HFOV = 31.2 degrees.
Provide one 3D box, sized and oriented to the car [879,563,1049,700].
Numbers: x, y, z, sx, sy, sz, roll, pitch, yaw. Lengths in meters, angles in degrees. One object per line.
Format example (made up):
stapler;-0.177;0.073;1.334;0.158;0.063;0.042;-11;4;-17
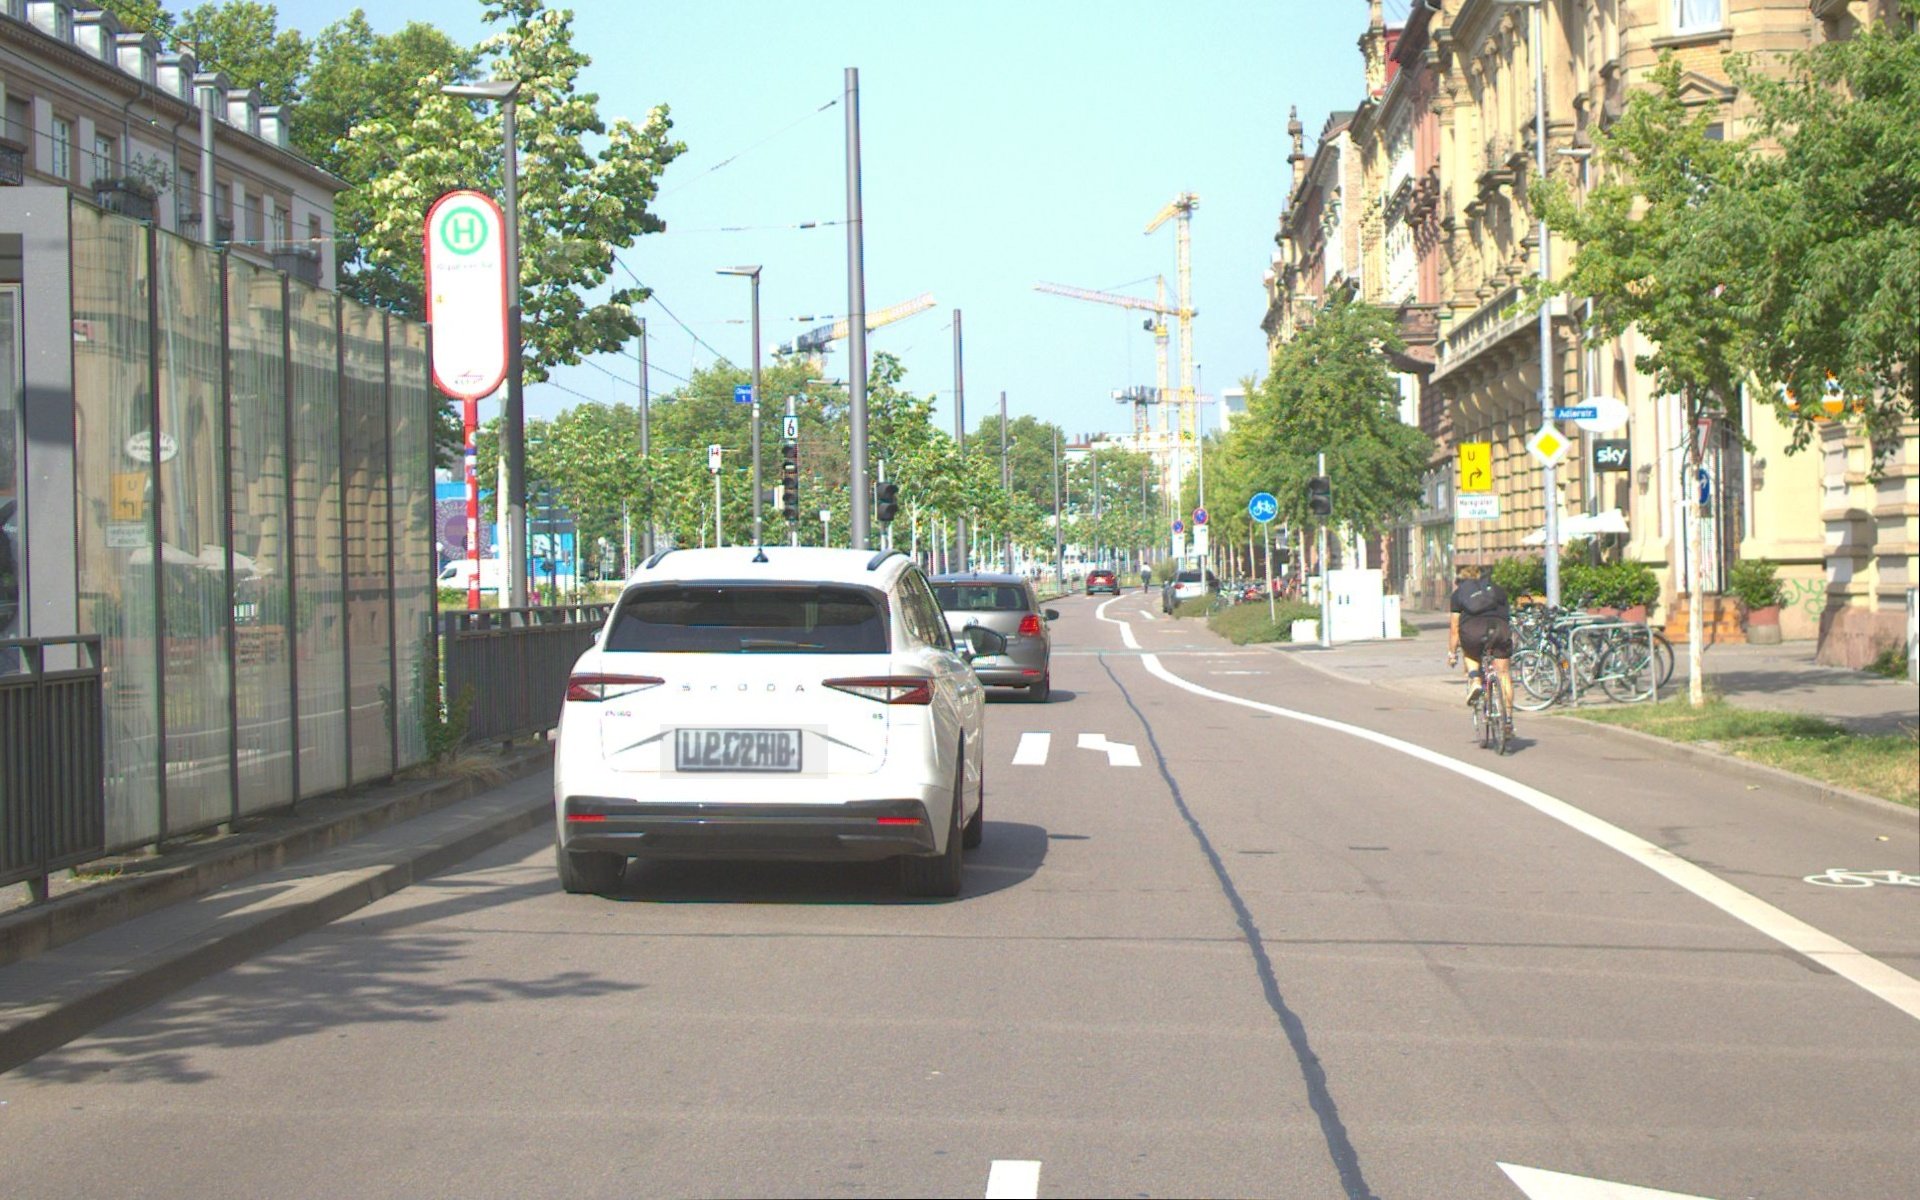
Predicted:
car;0.096;0.325;39.449;1.754;1.479;4.406;0;0;3

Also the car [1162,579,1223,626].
car;8.273;0.077;122.807;1.769;1.583;4.248;-2;1;-1

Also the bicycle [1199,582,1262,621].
bicycle;7.966;0.043;101.176;1.785;1.050;0.373;-3;0;2

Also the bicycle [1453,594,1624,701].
bicycle;6.593;0.537;39.193;1.755;1.084;0.673;-4;0;-20

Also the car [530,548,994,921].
car;-0.825;0.558;16.848;1.817;1.584;4.406;0;0;3

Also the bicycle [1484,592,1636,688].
bicycle;7.417;0.489;42.541;1.753;1.084;0.582;-3;0;6

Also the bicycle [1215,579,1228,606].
bicycle;10.936;-0.327;143.911;0.492;1.090;1.826;-1;0;3

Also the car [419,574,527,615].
car;-32.928;-0.368;232.446;6.872;2.629;2.515;1;0;-18

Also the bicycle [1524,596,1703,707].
bicycle;7.210;0.564;37.976;1.755;1.084;0.658;-4;0;-6

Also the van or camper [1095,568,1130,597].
van or camper;9.083;-1.051;205.034;1.993;1.649;4.000;-1;0;2

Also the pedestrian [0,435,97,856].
pedestrian;-4.816;0.207;16.942;0.833;2.007;1.028;1;0;-1

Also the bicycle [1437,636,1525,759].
bicycle;4.479;0.824;29.632;0.505;0.950;1.785;0;2;0

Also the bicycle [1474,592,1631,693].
bicycle;7.005;0.502;40.702;1.756;1.084;0.668;-3;0;8

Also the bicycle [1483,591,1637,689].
bicycle;7.311;0.487;41.944;1.753;1.084;0.582;-3;0;6

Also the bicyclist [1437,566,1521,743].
bicyclist;4.462;0.458;29.583;0.583;1.477;0.932;0;2;0

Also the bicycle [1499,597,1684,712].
bicycle;6.685;0.573;36.434;1.755;1.084;0.611;-4;0;-6

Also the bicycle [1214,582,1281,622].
bicycle;8.348;0.053;99.918;1.806;1.092;0.672;-3;0;-2
